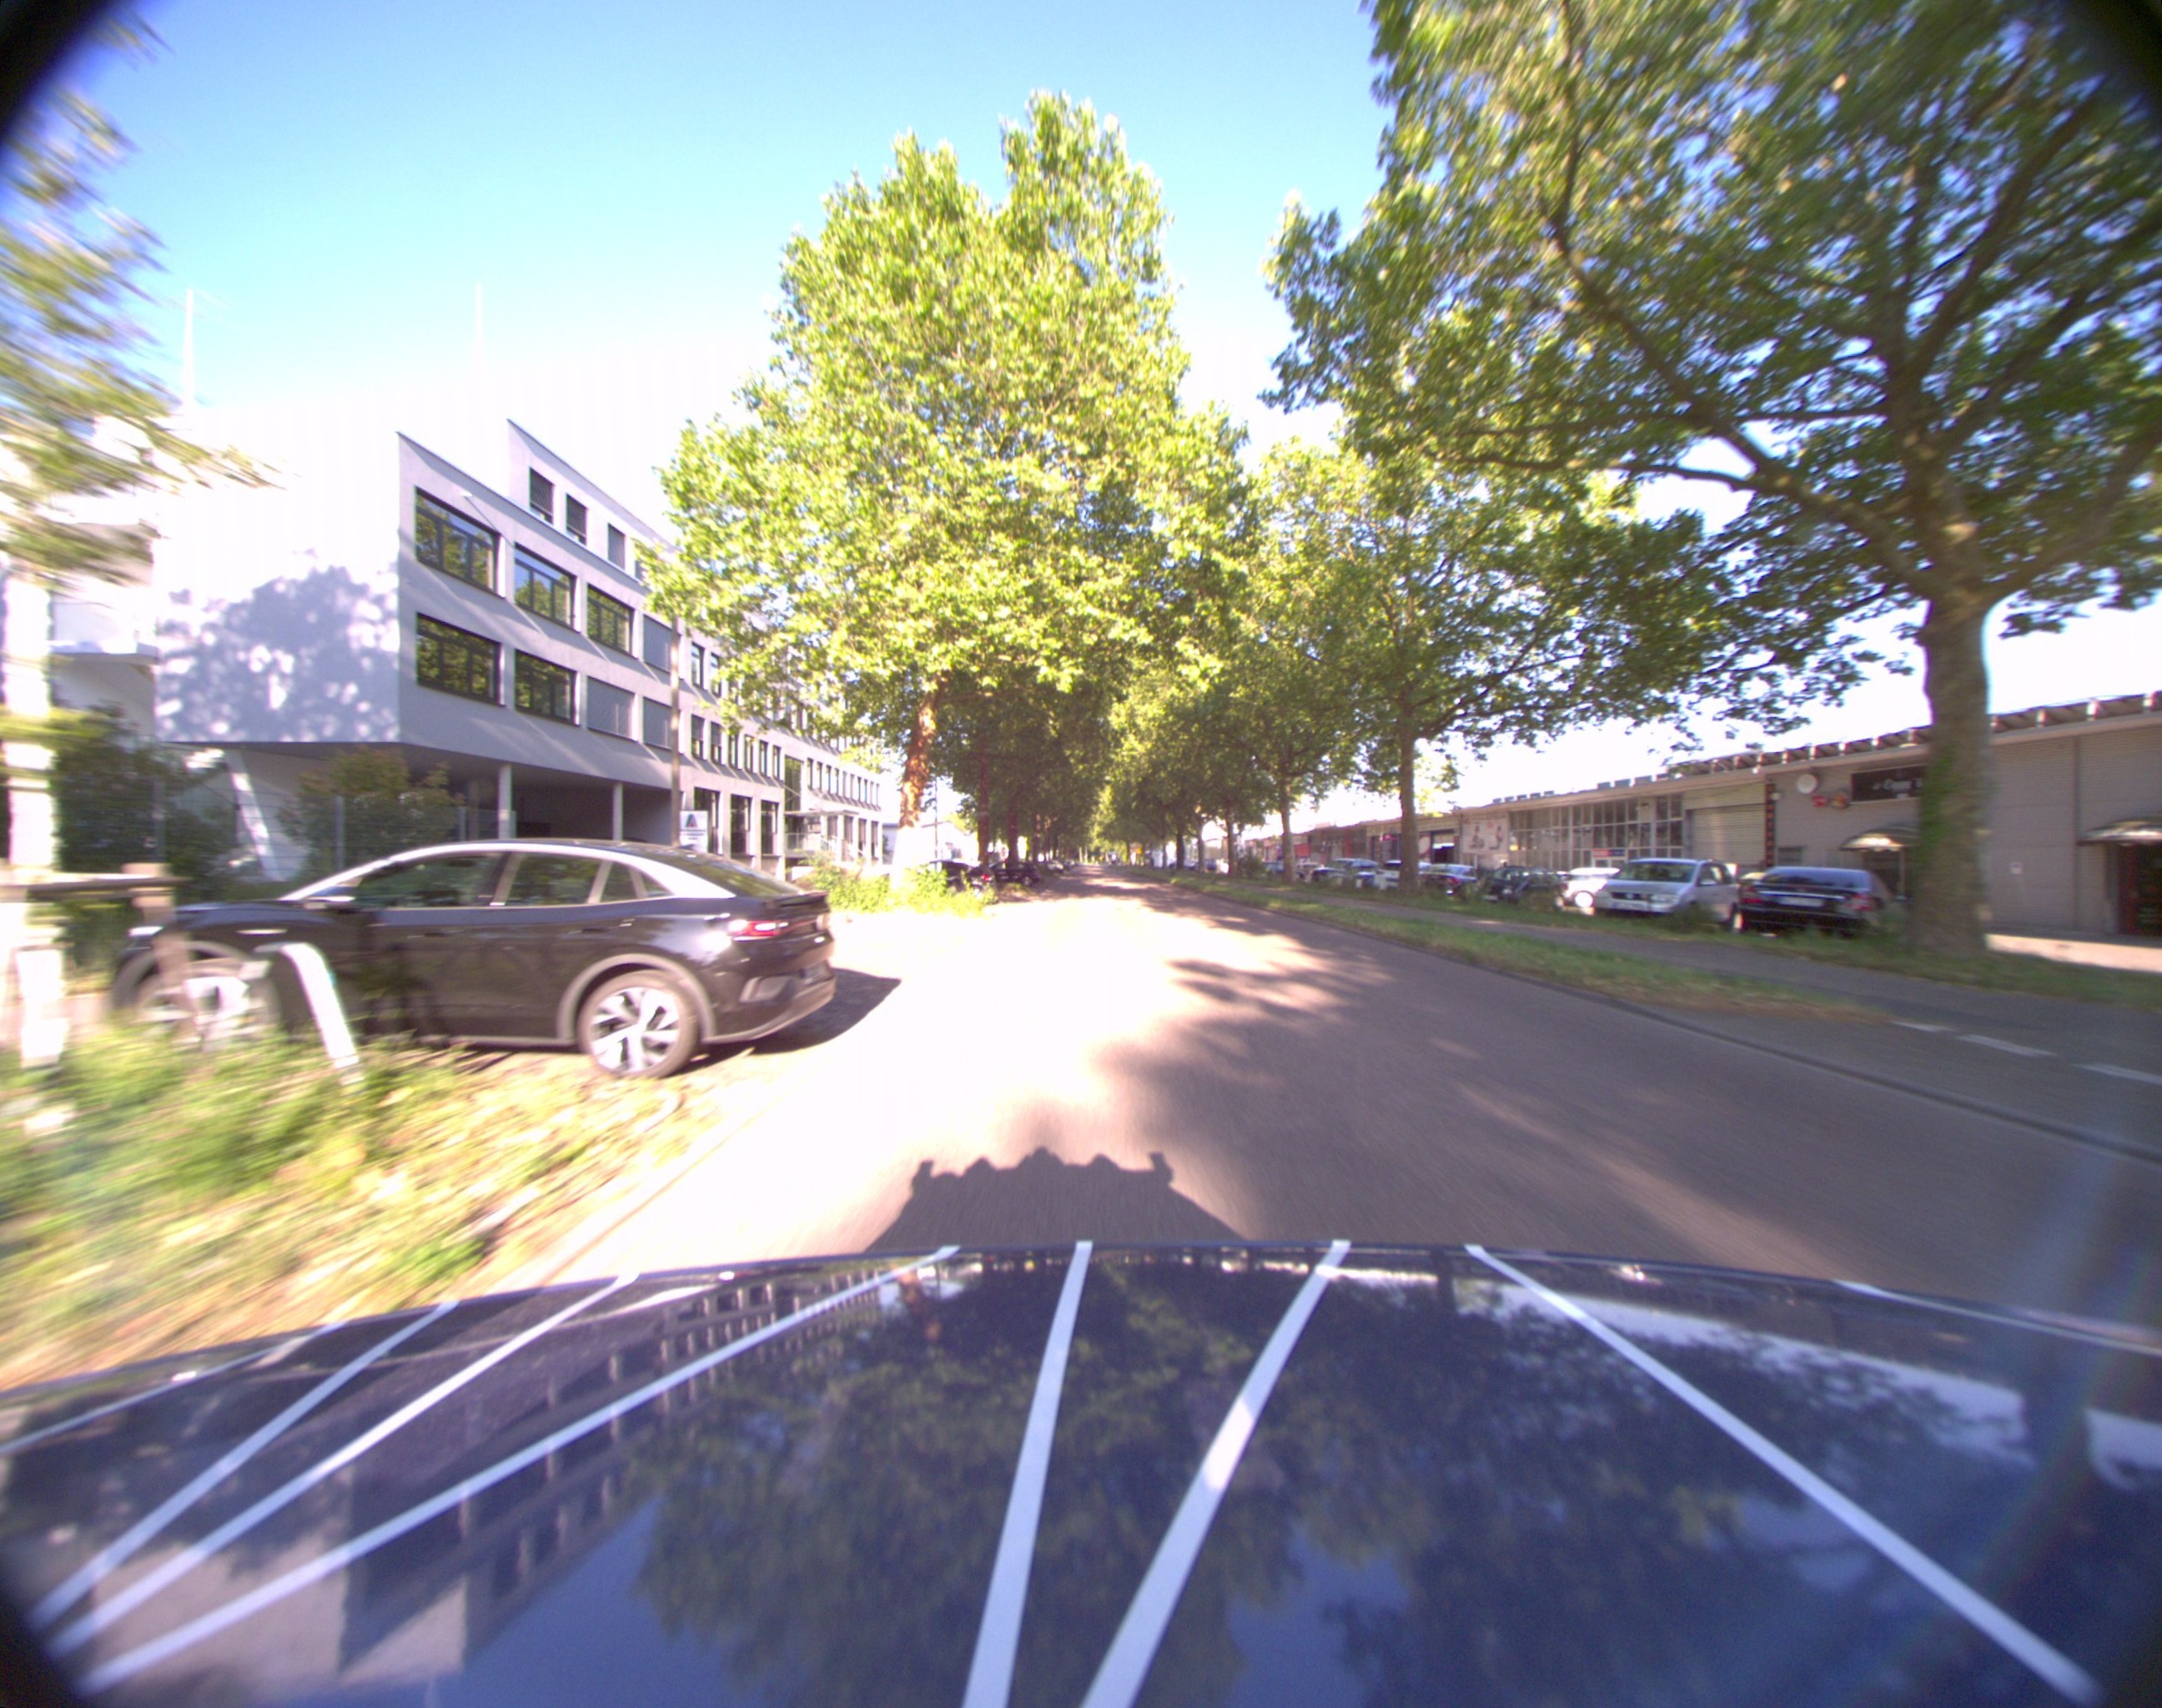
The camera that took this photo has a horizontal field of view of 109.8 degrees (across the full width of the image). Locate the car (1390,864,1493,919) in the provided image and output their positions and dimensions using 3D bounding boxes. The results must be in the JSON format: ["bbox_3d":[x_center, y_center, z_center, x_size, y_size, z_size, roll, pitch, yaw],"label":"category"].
[{"bbox_3d":[12.573,1.223,26.346,1.994,1.620,4.271,-1,1,43],"label":"car"}]

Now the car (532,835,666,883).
[{"bbox_3d":[-19.135,0.176,30.475,1.998,1.721,4.670,-2,1,6],"label":"car"}]

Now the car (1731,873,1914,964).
[{"bbox_3d":[13.590,1.048,13.842,4.494,1.298,1.994,0,0,-41],"label":"car"}]

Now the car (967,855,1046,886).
[{"bbox_3d":[-4.184,0.913,43.180,4.295,1.477,1.860,4,1,-1],"label":"car"}]

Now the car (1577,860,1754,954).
[{"bbox_3d":[13.272,1.081,17.169,4.492,1.720,1.995,-2,1,-37],"label":"car"}]

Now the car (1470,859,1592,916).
[{"bbox_3d":[15.130,1.054,25.463,4.270,1.620,1.995,-2,1,-37],"label":"car"}]

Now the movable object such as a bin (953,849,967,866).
[{"bbox_3d":[-9.502,0.248,59.708,0.749,1.256,1.611,-2,1,1],"label":"movable object such as a bin"}]

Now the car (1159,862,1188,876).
[{"bbox_3d":[12.813,2.079,104.814,1.994,1.829,4.257,-1,1,38],"label":"car"}]

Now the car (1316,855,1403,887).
[{"bbox_3d":[13.687,0.803,37.238,4.270,1.374,1.995,-2,1,-37],"label":"car"}]

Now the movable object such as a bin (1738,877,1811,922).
[{"bbox_3d":[23.711,1.531,26.024,1.059,1.423,1.573,-2,1,-2],"label":"movable object such as a bin"}]

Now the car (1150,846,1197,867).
[{"bbox_3d":[14.387,0.456,117.989,6.972,2.835,2.596,4,-2,-28],"label":"car"}]

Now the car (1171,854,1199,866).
[{"bbox_3d":[13.875,0.796,101.341,1.994,1.561,4.059,-1,1,38],"label":"car"}]

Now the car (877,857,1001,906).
[{"bbox_3d":[-4.646,0.888,25.296,3.794,1.477,1.860,1,1,-1],"label":"car"}]

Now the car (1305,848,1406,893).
[{"bbox_3d":[11.898,0.672,32.885,4.006,1.740,1.995,-2,1,-31],"label":"car"}]

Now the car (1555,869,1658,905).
[{"bbox_3d":[22.200,1.402,32.218,3.290,1.398,1.711,-1,1,23],"label":"car"}]

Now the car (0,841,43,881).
[{"bbox_3d":[-37.093,0.267,24.424,1.875,1.324,4.000,-2,0,0],"label":"car"}]

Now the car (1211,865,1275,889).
[{"bbox_3d":[13.358,1.861,62.591,4.905,1.749,1.996,-2,1,-23],"label":"car"}]

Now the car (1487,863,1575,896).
[{"bbox_3d":[20.940,1.179,35.391,3.289,1.398,1.712,-1,1,39],"label":"car"}]

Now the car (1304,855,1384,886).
[{"bbox_3d":[14.035,0.853,40.456,4.270,1.443,1.995,-2,1,-37],"label":"car"}]

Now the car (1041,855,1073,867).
[{"bbox_3d":[-3.457,1.005,109.572,4.405,1.410,1.999,2,0,-5],"label":"car"}]

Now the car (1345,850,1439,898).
[{"bbox_3d":[12.456,0.729,30.337,1.994,1.689,4.271,-1,1,44],"label":"car"}]

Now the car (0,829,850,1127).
[{"bbox_3d":[-4.339,0.794,5.711,4.582,1.705,1.942,2,0,-3],"label":"car"}]

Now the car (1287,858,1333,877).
[{"bbox_3d":[22.284,1.332,74.015,3.990,1.696,2.003,-1,1,28],"label":"car"}]

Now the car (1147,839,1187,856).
[{"bbox_3d":[14.713,-1.079,129.594,6.338,2.482,2.595,4,-2,-29],"label":"car"}]

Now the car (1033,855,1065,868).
[{"bbox_3d":[-4.052,0.918,96.006,3.944,1.504,1.666,2,1,0],"label":"car"}]

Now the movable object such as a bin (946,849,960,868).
[{"bbox_3d":[-9.590,0.339,56.990,0.749,1.343,1.620,-2,1,1],"label":"movable object such as a bin"}]

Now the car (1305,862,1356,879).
[{"bbox_3d":[22.377,1.504,68.204,3.990,1.434,2.003,-1,1,28],"label":"car"}]

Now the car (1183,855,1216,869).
[{"bbox_3d":[14.174,0.956,90.674,1.994,1.565,3.850,-1,1,45],"label":"car"}]

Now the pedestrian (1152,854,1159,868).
[{"bbox_3d":[9.804,0.901,100.310,0.805,1.762,0.940,-2,1,2],"label":"pedestrian"}]
